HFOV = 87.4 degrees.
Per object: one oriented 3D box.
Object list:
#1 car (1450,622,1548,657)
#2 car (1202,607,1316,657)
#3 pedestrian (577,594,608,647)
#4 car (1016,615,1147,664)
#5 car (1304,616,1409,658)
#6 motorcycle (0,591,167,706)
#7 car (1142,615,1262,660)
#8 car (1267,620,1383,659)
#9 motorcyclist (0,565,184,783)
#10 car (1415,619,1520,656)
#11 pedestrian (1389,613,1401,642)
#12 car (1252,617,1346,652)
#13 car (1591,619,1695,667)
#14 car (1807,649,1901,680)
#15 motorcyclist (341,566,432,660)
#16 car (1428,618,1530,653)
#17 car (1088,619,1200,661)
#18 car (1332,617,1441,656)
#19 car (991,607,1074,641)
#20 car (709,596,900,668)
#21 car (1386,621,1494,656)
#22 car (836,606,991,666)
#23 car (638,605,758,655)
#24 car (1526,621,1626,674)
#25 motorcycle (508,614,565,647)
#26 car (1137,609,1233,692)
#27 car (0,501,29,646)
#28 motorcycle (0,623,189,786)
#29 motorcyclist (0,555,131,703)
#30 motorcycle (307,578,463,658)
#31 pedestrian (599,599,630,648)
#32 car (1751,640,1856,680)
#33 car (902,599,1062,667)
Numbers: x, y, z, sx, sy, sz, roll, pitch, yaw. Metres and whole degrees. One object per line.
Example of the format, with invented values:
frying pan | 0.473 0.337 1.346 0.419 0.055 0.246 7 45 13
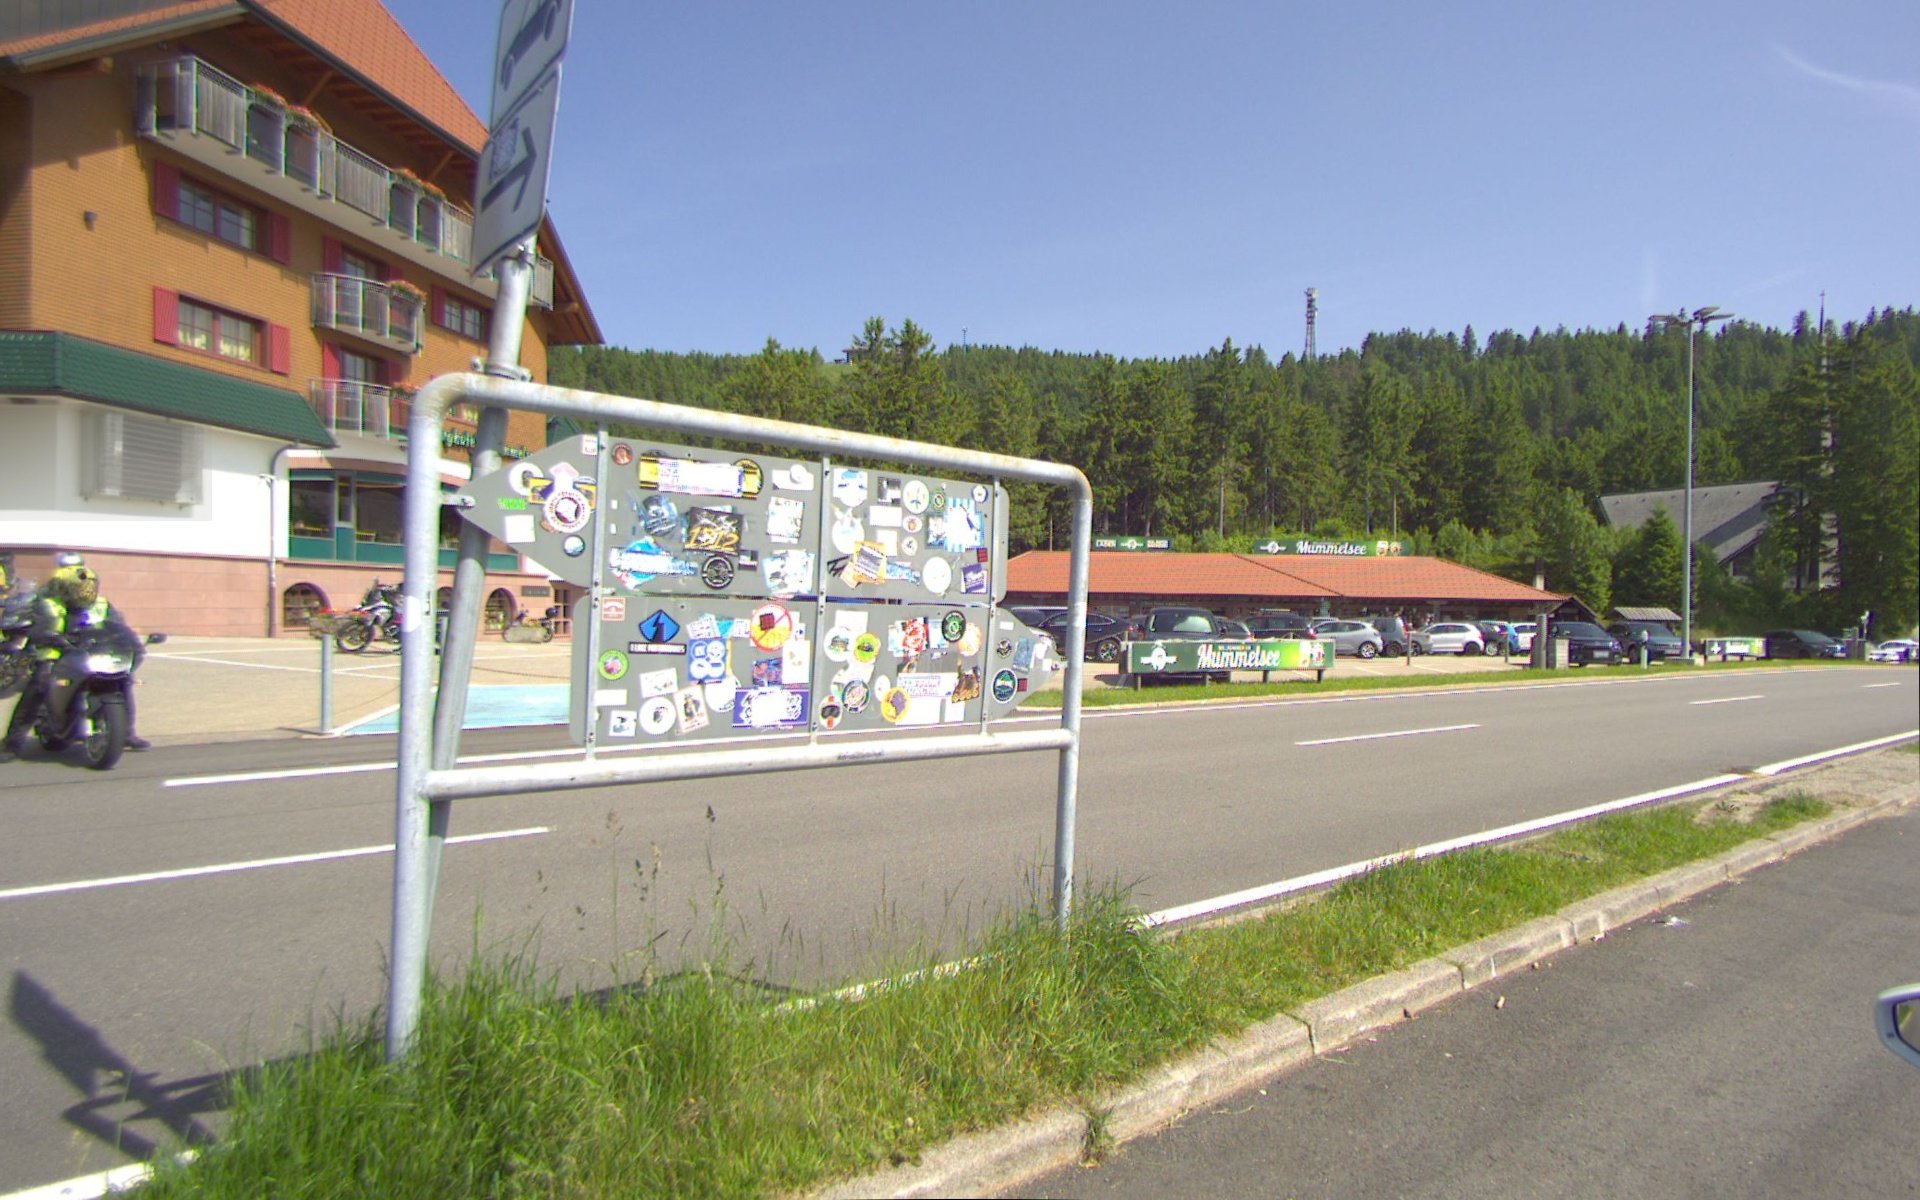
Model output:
car | 26.996 1.992 50.437 3.949 1.694 1.778 0 -2 8
car | 10.929 1.145 36.919 3.919 1.726 1.827 0 0 15
pedestrian | -11.609 0.647 31.772 0.613 1.654 0.703 0 0 17
car | 3.795 1.197 31.329 3.919 1.449 1.915 0 0 9
car | 16.052 1.476 40.806 3.657 1.609 1.736 0 0 10
motorcycle | -11.539 0.564 12.808 0.861 1.273 2.278 2 2 7
car | 8.427 1.298 35.256 3.996 1.506 1.717 0 0 9
car | 14.029 1.504 38.801 3.919 1.389 1.813 0 0 9
motorcyclist | -7.509 0.576 8.596 1.271 1.697 1.026 1 0 34
car | 23.342 1.702 46.311 3.919 1.595 2.001 0 -1 10
pedestrian | 28.093 1.775 64.858 0.517 1.898 0.547 2 0 7
car | 16.119 1.613 47.959 3.919 1.595 2.001 0 -1 7
car | 25.445 1.558 37.584 1.705 1.588 4.062 2 0 10
car | 46.239 3.309 52.059 1.708 1.460 3.973 0 -1 8
motorcyclist | -11.280 0.256 19.768 1.050 1.742 1.241 4 0 44
car | 24.906 1.689 48.339 3.919 1.595 2.001 0 -1 10
car | 6.055 1.308 33.354 3.565 1.339 1.588 0 0 7
car | 18.079 1.544 42.748 3.919 1.565 1.900 0 0 11
car | 3.461 1.092 47.312 3.802 1.550 1.911 0 0 7
car | -3.957 0.795 25.935 4.453 1.686 1.941 1 0 9
car | 21.113 1.675 44.342 3.919 1.439 1.909 0 -1 10
car | -1.247 0.972 27.910 3.919 1.566 2.001 0 0 11
car | -7.265 0.797 28.258 1.679 1.314 4.002 0 0 11
car | 20.297 1.508 33.260 1.747 1.572 4.002 1 0 15
motorcycle | -14.844 1.061 35.212 1.755 0.999 0.480 4 6 1
car | 4.715 0.968 21.130 1.771 1.561 4.195 0 0 12
car | -18.728 -0.551 16.937 3.953 2.529 1.984 3 -2 -30
motorcycle | -7.562 0.819 8.643 2.248 1.193 0.822 0 0 35
motorcyclist | -11.573 0.319 12.695 0.907 1.741 1.452 2 2 7
motorcycle | -11.302 0.376 19.807 0.992 1.425 2.431 4 0 44
pedestrian | -10.890 0.730 31.697 0.613 1.509 0.703 0 0 17
car | 40.853 2.872 48.775 1.753 1.655 4.213 2 -1 4
car | 0.672 0.931 29.555 4.438 1.888 1.836 0 0 12
